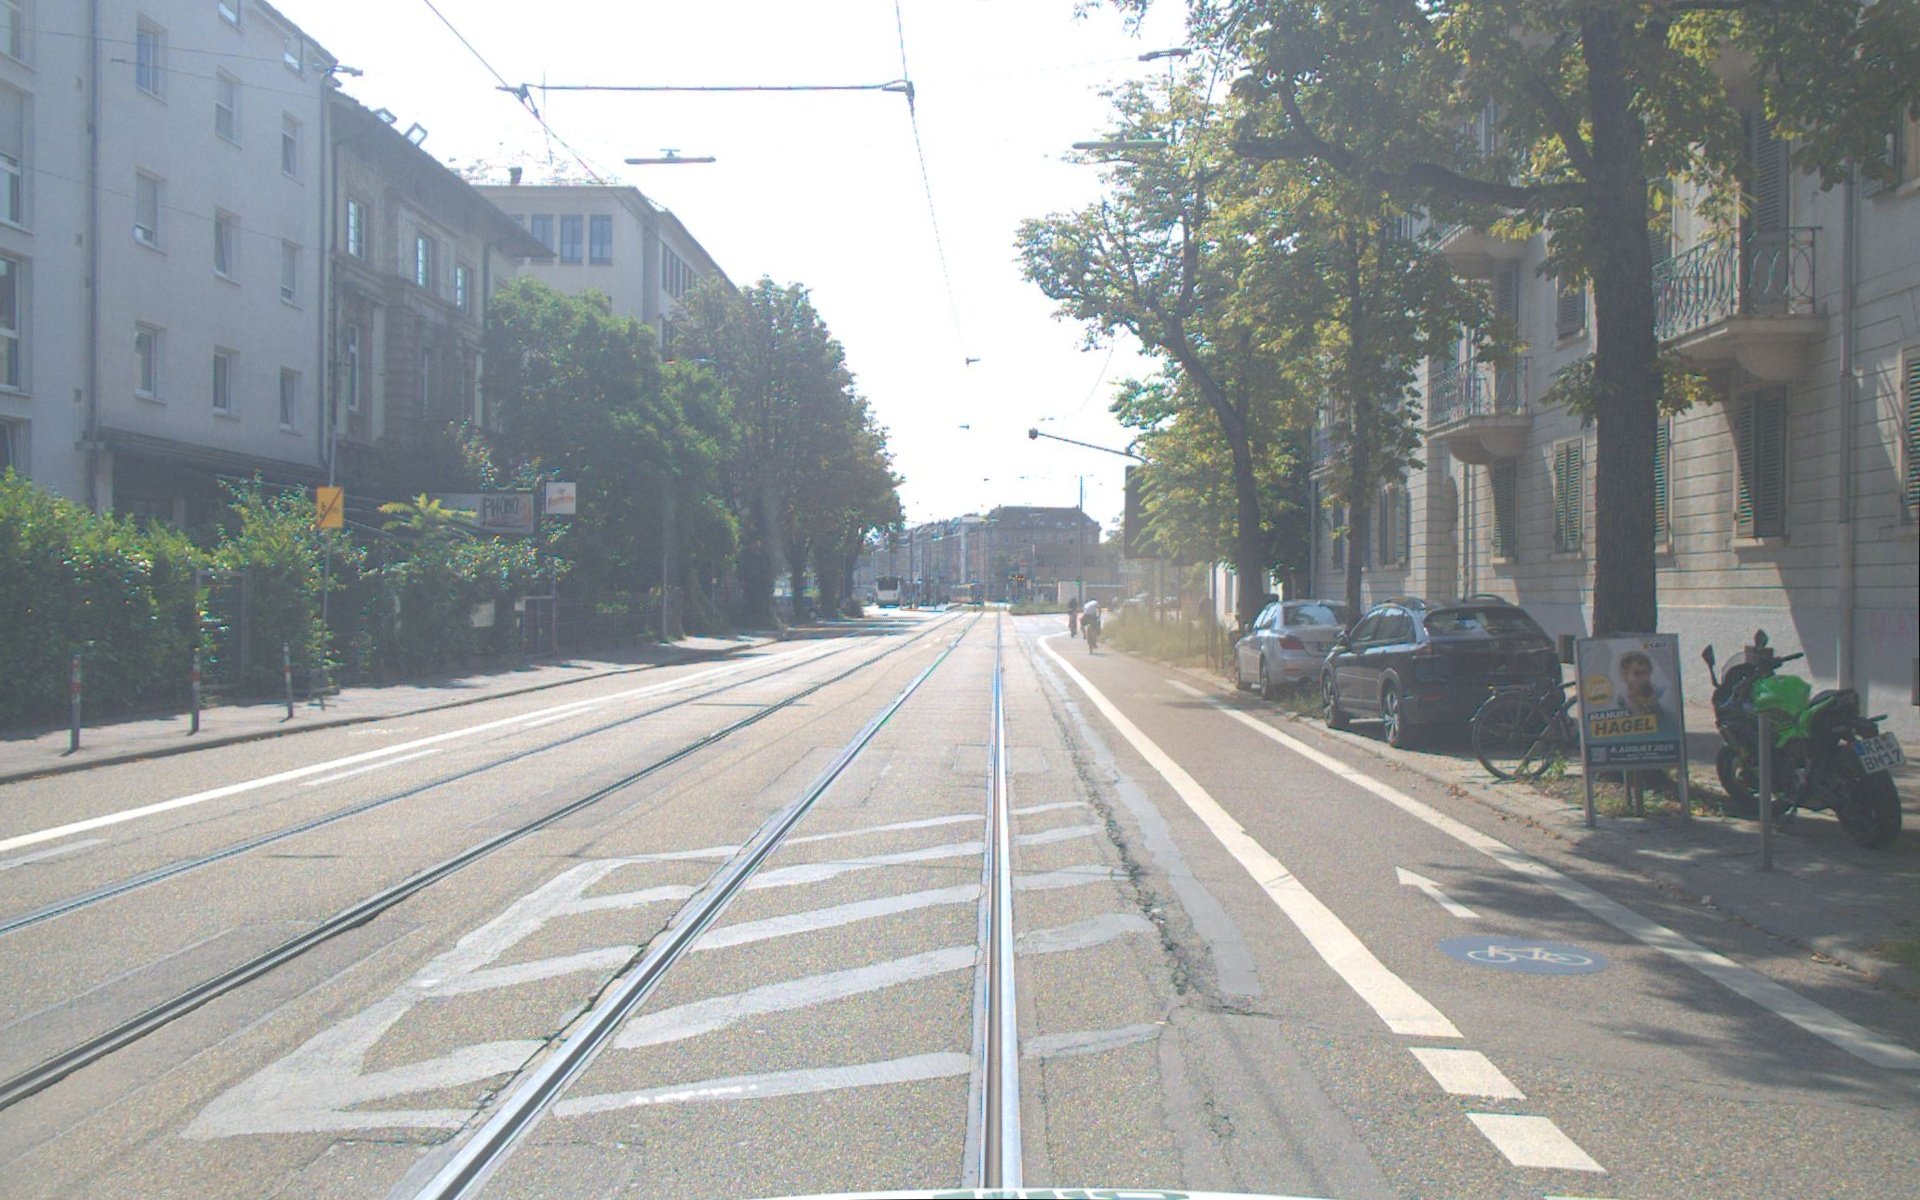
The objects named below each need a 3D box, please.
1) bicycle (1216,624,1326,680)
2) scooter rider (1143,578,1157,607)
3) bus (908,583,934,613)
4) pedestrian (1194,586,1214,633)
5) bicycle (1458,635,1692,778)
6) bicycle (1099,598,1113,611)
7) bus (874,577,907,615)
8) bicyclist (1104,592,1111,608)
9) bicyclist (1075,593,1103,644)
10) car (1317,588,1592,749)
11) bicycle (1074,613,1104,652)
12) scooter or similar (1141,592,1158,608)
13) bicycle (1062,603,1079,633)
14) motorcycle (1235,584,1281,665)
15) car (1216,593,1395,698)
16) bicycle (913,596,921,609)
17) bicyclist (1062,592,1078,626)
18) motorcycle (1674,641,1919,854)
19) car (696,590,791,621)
[{"bbox_3d":[5.609,0.936,29.913,1.882,0.969,0.721,0,0,4],"label":"bicycle"},{"bbox_3d":[11.945,-0.482,104.034,0.746,1.806,0.555,0,0,18],"label":"scooter rider"},{"bbox_3d":[-5.152,-0.282,220.075,2.653,3.792,10.422,1,0,3],"label":"bus"},{"bbox_3d":[9.238,0.342,62.640,0.677,1.762,0.579,0,0,3],"label":"pedestrian"},{"bbox_3d":[5.126,0.875,13.858,1.719,1.142,0.656,0,0,1],"label":"bicycle"},{"bbox_3d":[12.658,0.382,143.159,0.437,1.136,1.439,0,0,40],"label":"bicycle"},{"bbox_3d":[-7.284,-0.362,174.502,2.897,3.841,10.597,1,0,1],"label":"bus"},{"bbox_3d":[12.760,-0.008,143.291,0.443,1.446,0.493,0,0,40],"label":"bicyclist"},{"bbox_3d":[3.680,0.530,47.232,0.729,1.436,0.962,1,0,2],"label":"bicyclist"},{"bbox_3d":[5.250,0.646,18.169,1.629,1.533,4.434,-1,0,-1],"label":"car"},{"bbox_3d":[3.666,0.914,47.199,0.724,1.067,2.233,1,0,1],"label":"bicycle"},{"bbox_3d":[11.942,-0.005,104.054,0.756,0.943,1.621,1,0,18],"label":"scooter or similar"},{"bbox_3d":[4.438,0.727,66.330,0.591,1.183,1.812,0,0,6],"label":"bicycle"},{"bbox_3d":[6.021,0.483,33.509,0.867,1.580,2.414,-1,0,9],"label":"motorcycle"},{"bbox_3d":[5.296,0.638,25.983,1.746,1.476,4.750,-1,0,-1],"label":"car"},{"bbox_3d":[-4.218,0.205,161.100,0.594,1.244,1.706,0,0,5],"label":"bicycle"},{"bbox_3d":[4.420,0.352,66.239,0.590,1.358,0.660,0,0,7],"label":"bicyclist"},{"bbox_3d":[5.547,0.867,10.630,0.810,1.130,2.497,0,0,-1],"label":"motorcycle"},{"bbox_3d":[-10.772,0.265,82.450,4.360,1.487,1.806,1,0,-26],"label":"car"}]
